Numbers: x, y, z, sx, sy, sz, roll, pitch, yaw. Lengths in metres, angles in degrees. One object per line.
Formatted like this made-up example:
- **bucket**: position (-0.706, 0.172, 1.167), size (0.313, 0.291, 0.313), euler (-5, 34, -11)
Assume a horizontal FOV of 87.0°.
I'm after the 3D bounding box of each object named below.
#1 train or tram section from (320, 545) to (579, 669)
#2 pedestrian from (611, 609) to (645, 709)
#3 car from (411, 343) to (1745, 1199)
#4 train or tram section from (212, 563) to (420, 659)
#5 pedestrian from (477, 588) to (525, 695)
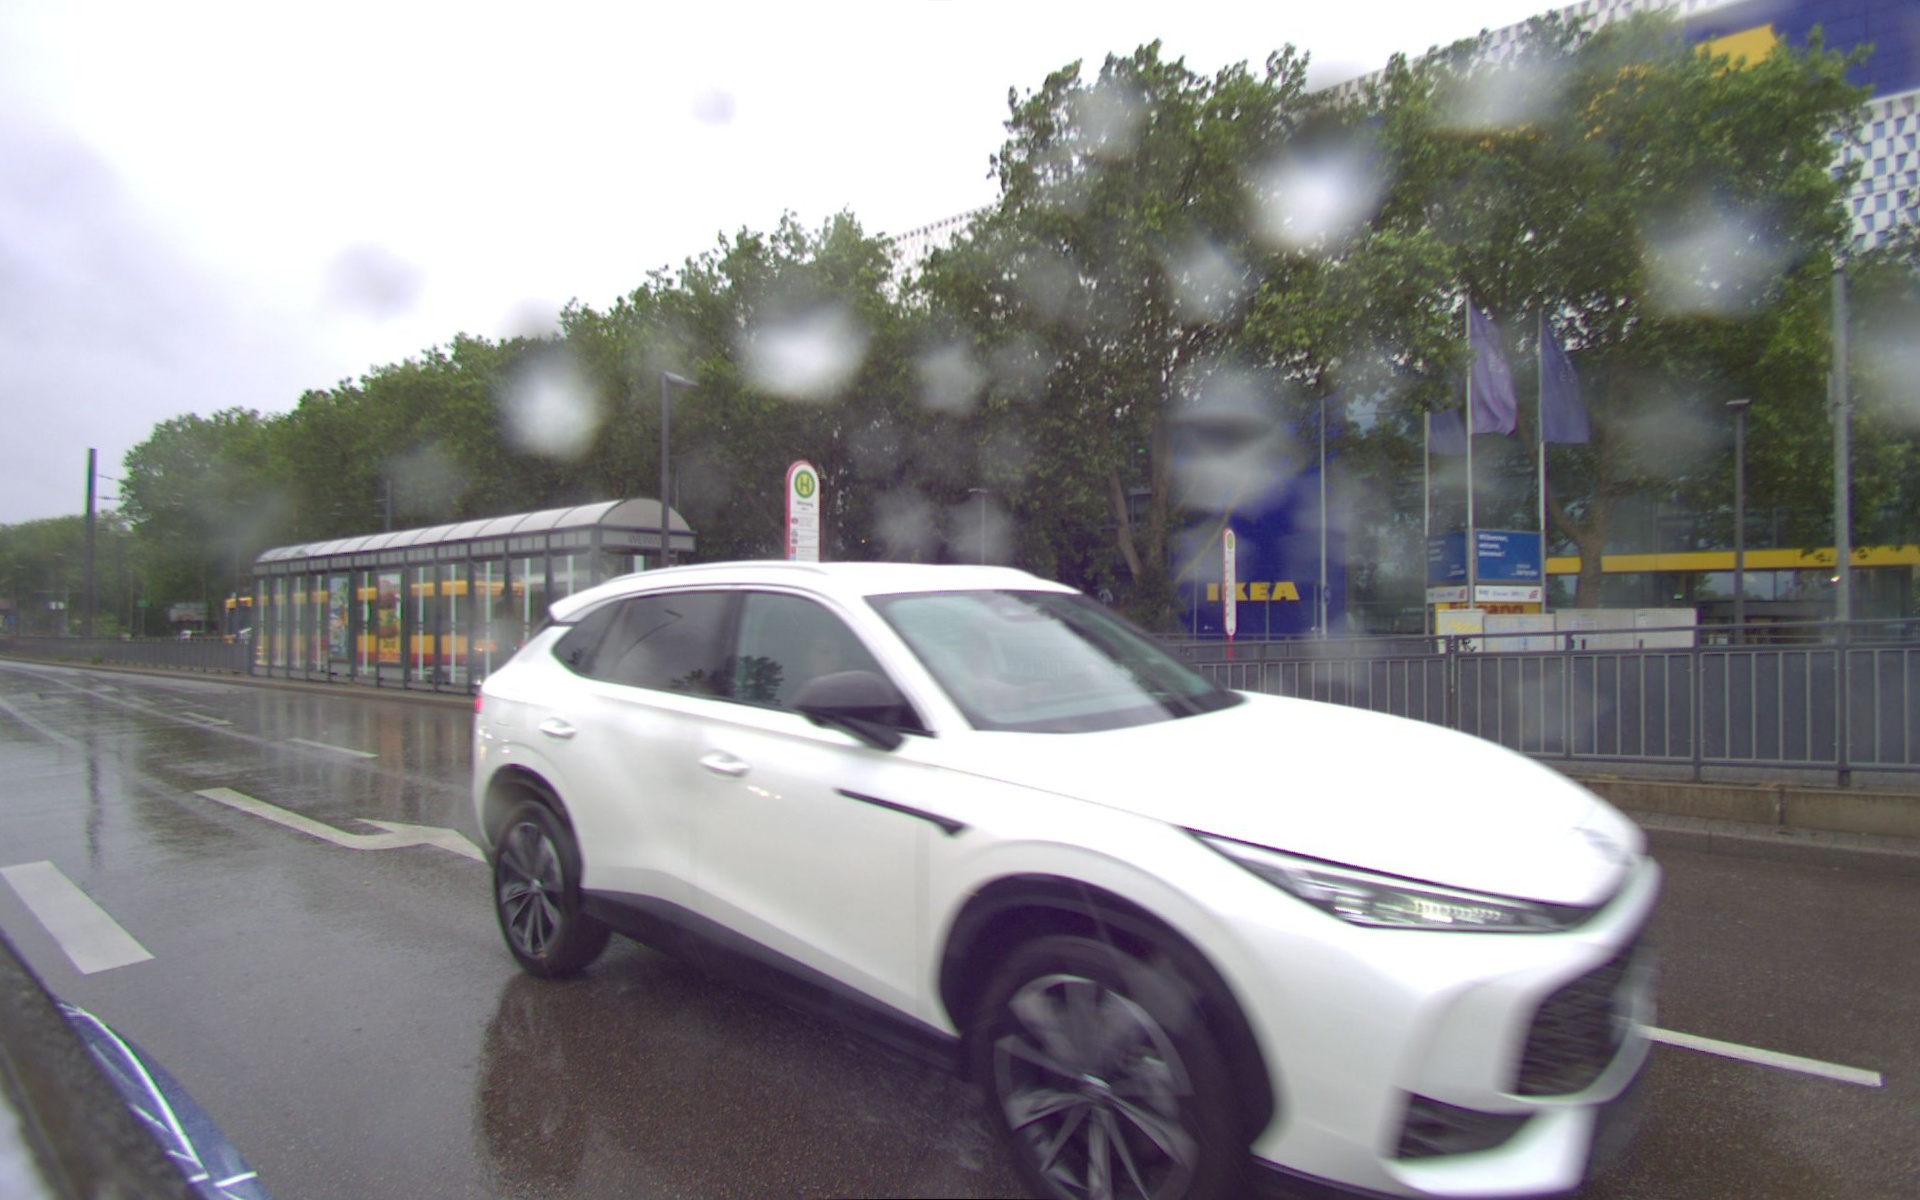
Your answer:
- **train or tram section**: position (-19.253, 0.288, 37.446), size (13.245, 3.868, 3.703), euler (-1, 0, 40)
- **pedestrian**: position (-5.140, 0.905, 15.676), size (0.317, 1.504, 0.416), euler (-2, 1, -44)
- **car**: position (-0.097, 0.531, 3.764), size (4.661, 1.788, 1.910), euler (-1, 0, 41)
- **train or tram section**: position (-30.181, 0.506, 46.852), size (15.560, 3.827, 3.703), euler (-1, 0, 40)
- **pedestrian**: position (-8.365, 0.738, 18.434), size (0.646, 1.885, 0.774), euler (-1, 0, -33)
